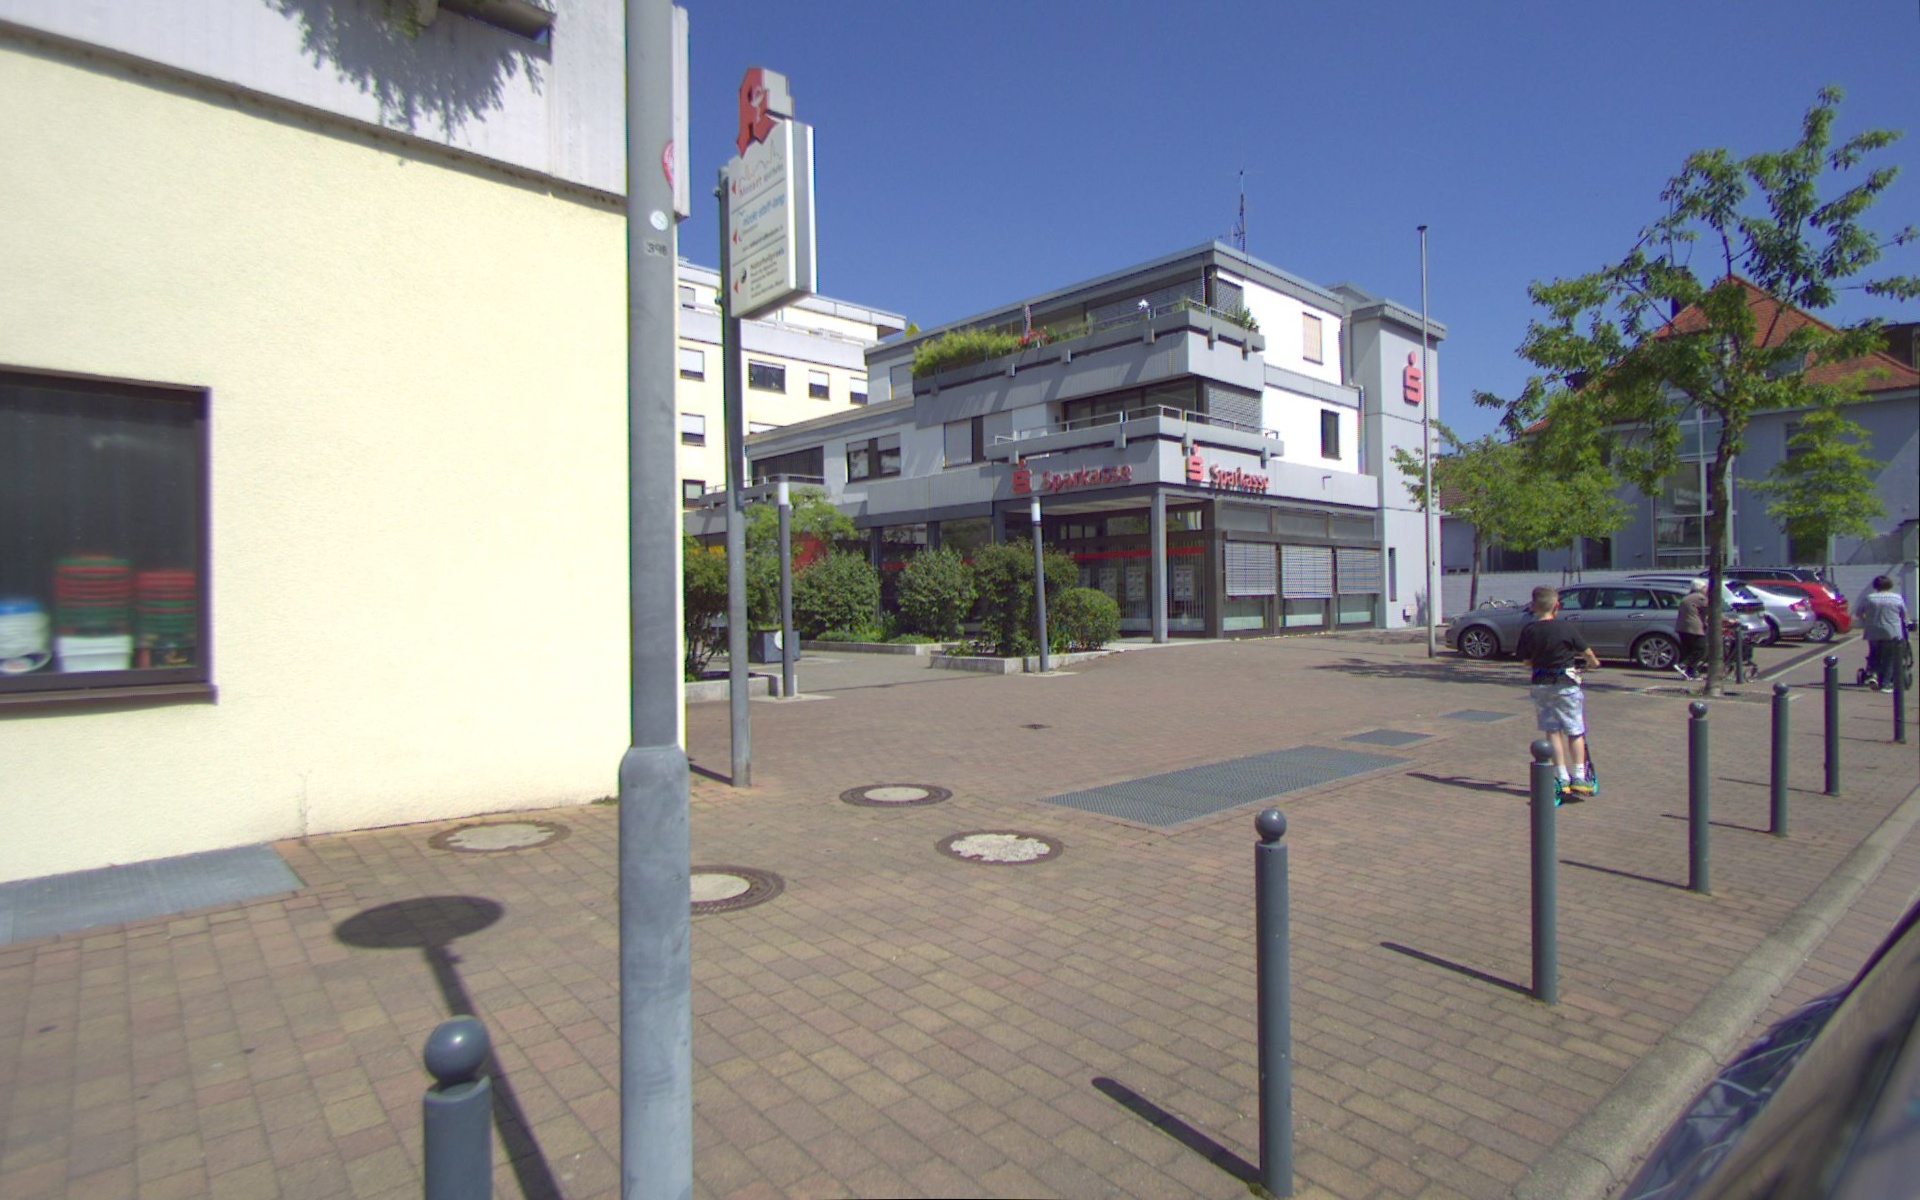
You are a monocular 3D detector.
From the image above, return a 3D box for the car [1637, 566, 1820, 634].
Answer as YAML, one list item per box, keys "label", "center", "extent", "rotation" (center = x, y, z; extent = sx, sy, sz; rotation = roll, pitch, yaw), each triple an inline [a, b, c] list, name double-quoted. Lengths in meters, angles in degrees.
- label: "car"
  center: [18.952, -0.016, 25.039]
  extent: [1.466, 1.571, 3.423]
  rotation: [-1, 1, -44]

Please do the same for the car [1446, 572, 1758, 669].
- label: "car"
  center: [11.222, 0.257, 17.916]
  extent: [4.434, 1.483, 1.664]
  rotation: [1, 3, 45]

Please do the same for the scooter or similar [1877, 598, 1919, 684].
- label: "scooter or similar"
  center: [13.151, 0.548, 13.915]
  extent: [0.890, 1.132, 0.507]
  rotation: [-1, 1, -26]

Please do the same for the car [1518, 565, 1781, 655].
- label: "car"
  center: [13.355, 0.122, 19.757]
  extent: [4.034, 1.579, 1.686]
  rotation: [1, 2, 44]

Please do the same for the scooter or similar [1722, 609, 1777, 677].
- label: "scooter or similar"
  center: [11.552, 0.618, 14.817]
  extent: [0.542, 0.957, 0.531]
  rotation: [0, 0, 29]

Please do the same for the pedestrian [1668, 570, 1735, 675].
- label: "pedestrian"
  center: [11.047, 0.327, 15.093]
  extent: [0.718, 1.520, 0.526]
  rotation: [-1, 0, 29]

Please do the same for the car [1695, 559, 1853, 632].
- label: "car"
  center: [20.876, -0.151, 26.013]
  extent: [3.033, 1.759, 1.323]
  rotation: [1, 2, 45]

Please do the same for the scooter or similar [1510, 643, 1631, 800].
- label: "scooter or similar"
  center: [4.213, 0.801, 6.974]
  extent: [0.942, 0.977, 0.412]
  rotation: [1, -1, -38]

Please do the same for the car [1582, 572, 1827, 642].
- label: "car"
  center: [17.095, 0.092, 23.377]
  extent: [4.430, 1.460, 1.631]
  rotation: [1, 2, 43]

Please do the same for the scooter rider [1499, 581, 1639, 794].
- label: "scooter rider"
  center: [4.187, 0.547, 6.938]
  extent: [1.113, 1.341, 0.462]
  rotation: [-1, 0, -39]

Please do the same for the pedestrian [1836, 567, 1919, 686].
- label: "pedestrian"
  center: [12.292, 0.333, 13.502]
  extent: [1.026, 1.535, 0.514]
  rotation: [0, 1, -25]
